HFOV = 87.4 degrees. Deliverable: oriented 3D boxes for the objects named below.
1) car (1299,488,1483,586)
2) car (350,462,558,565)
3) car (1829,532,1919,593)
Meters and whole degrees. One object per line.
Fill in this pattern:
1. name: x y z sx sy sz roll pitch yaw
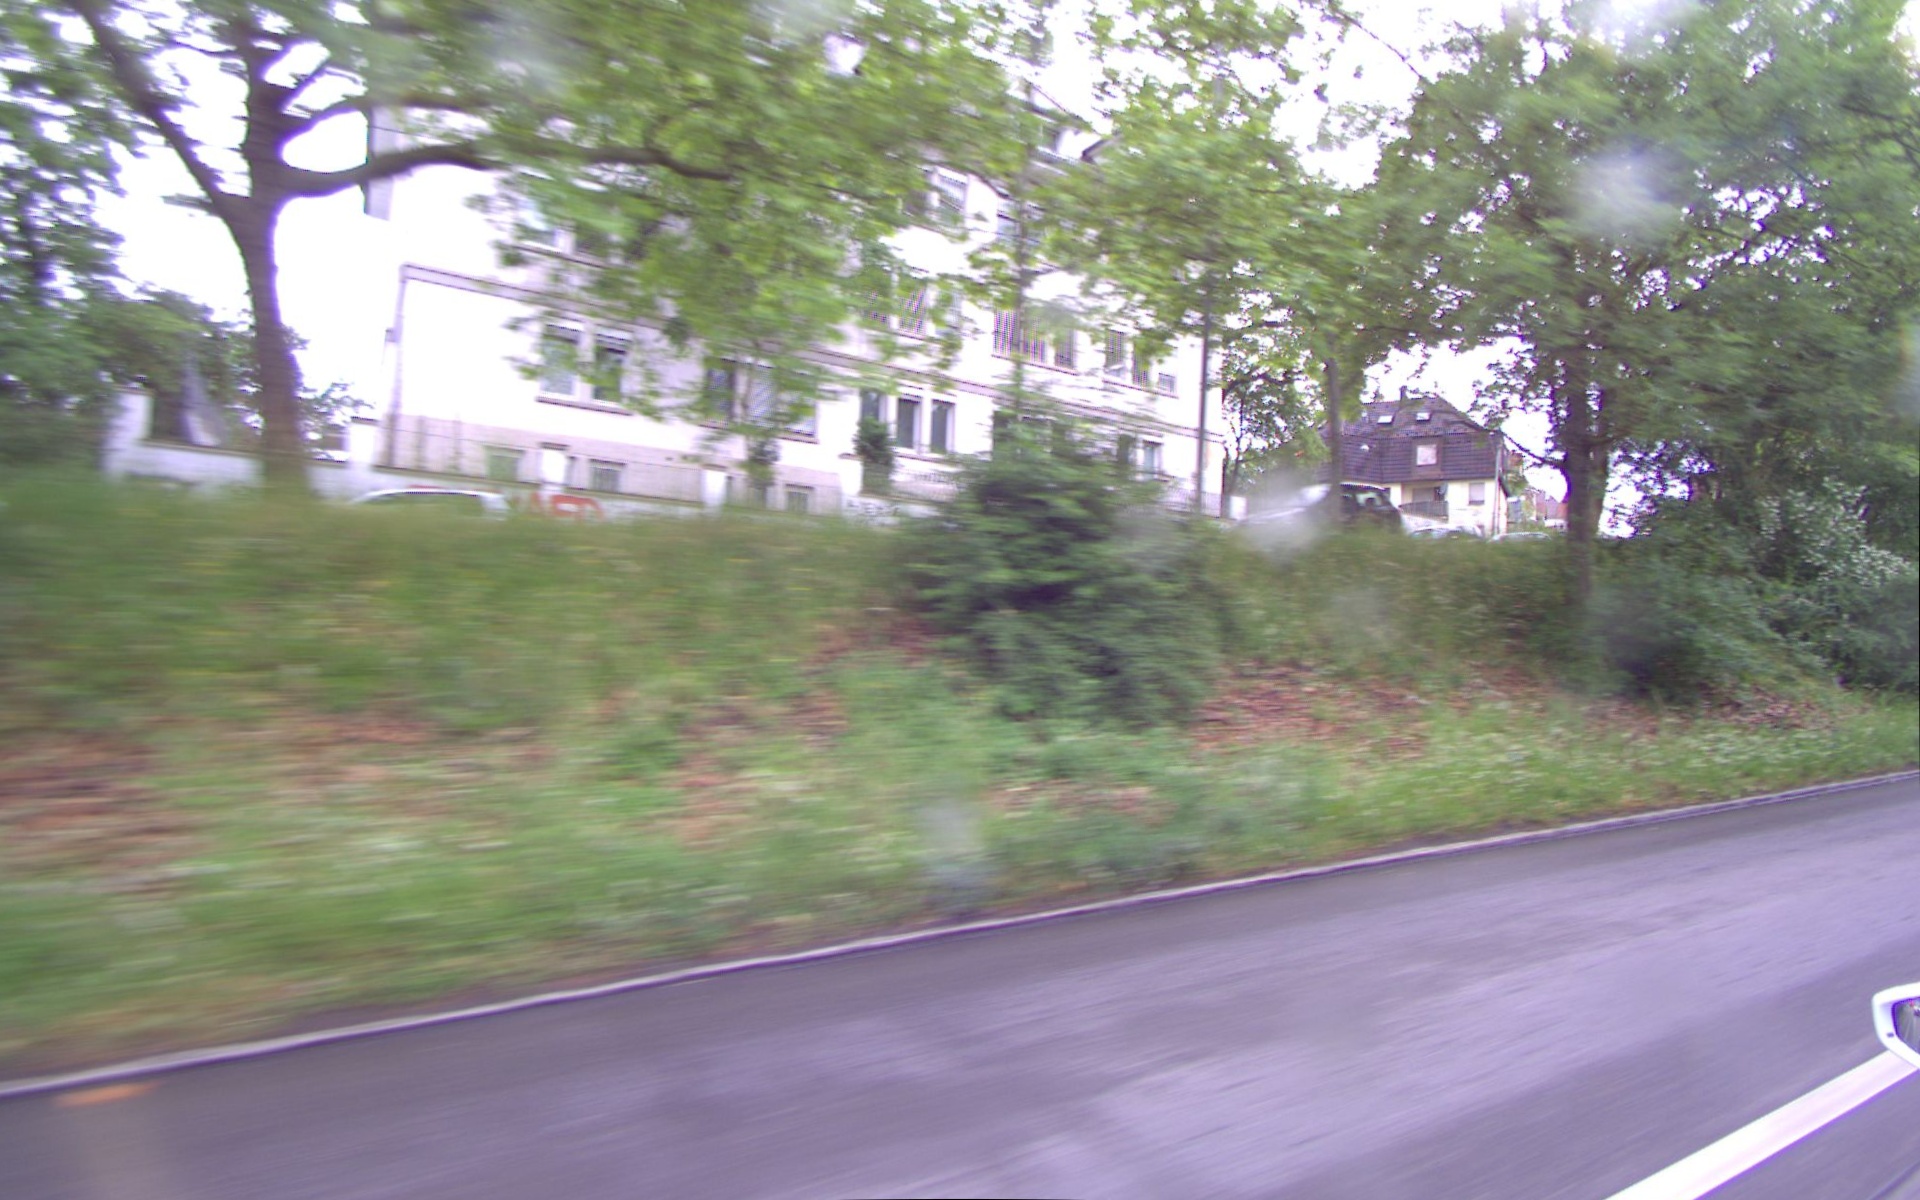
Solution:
1. car: 8.224 -1.126 19.120 3.340 1.459 1.545 4 -3 -30
2. car: -8.584 -1.405 17.096 2.984 1.315 1.374 4 -3 -33
3. car: 28.020 -1.099 30.301 3.403 1.684 1.743 -1 -1 -31
